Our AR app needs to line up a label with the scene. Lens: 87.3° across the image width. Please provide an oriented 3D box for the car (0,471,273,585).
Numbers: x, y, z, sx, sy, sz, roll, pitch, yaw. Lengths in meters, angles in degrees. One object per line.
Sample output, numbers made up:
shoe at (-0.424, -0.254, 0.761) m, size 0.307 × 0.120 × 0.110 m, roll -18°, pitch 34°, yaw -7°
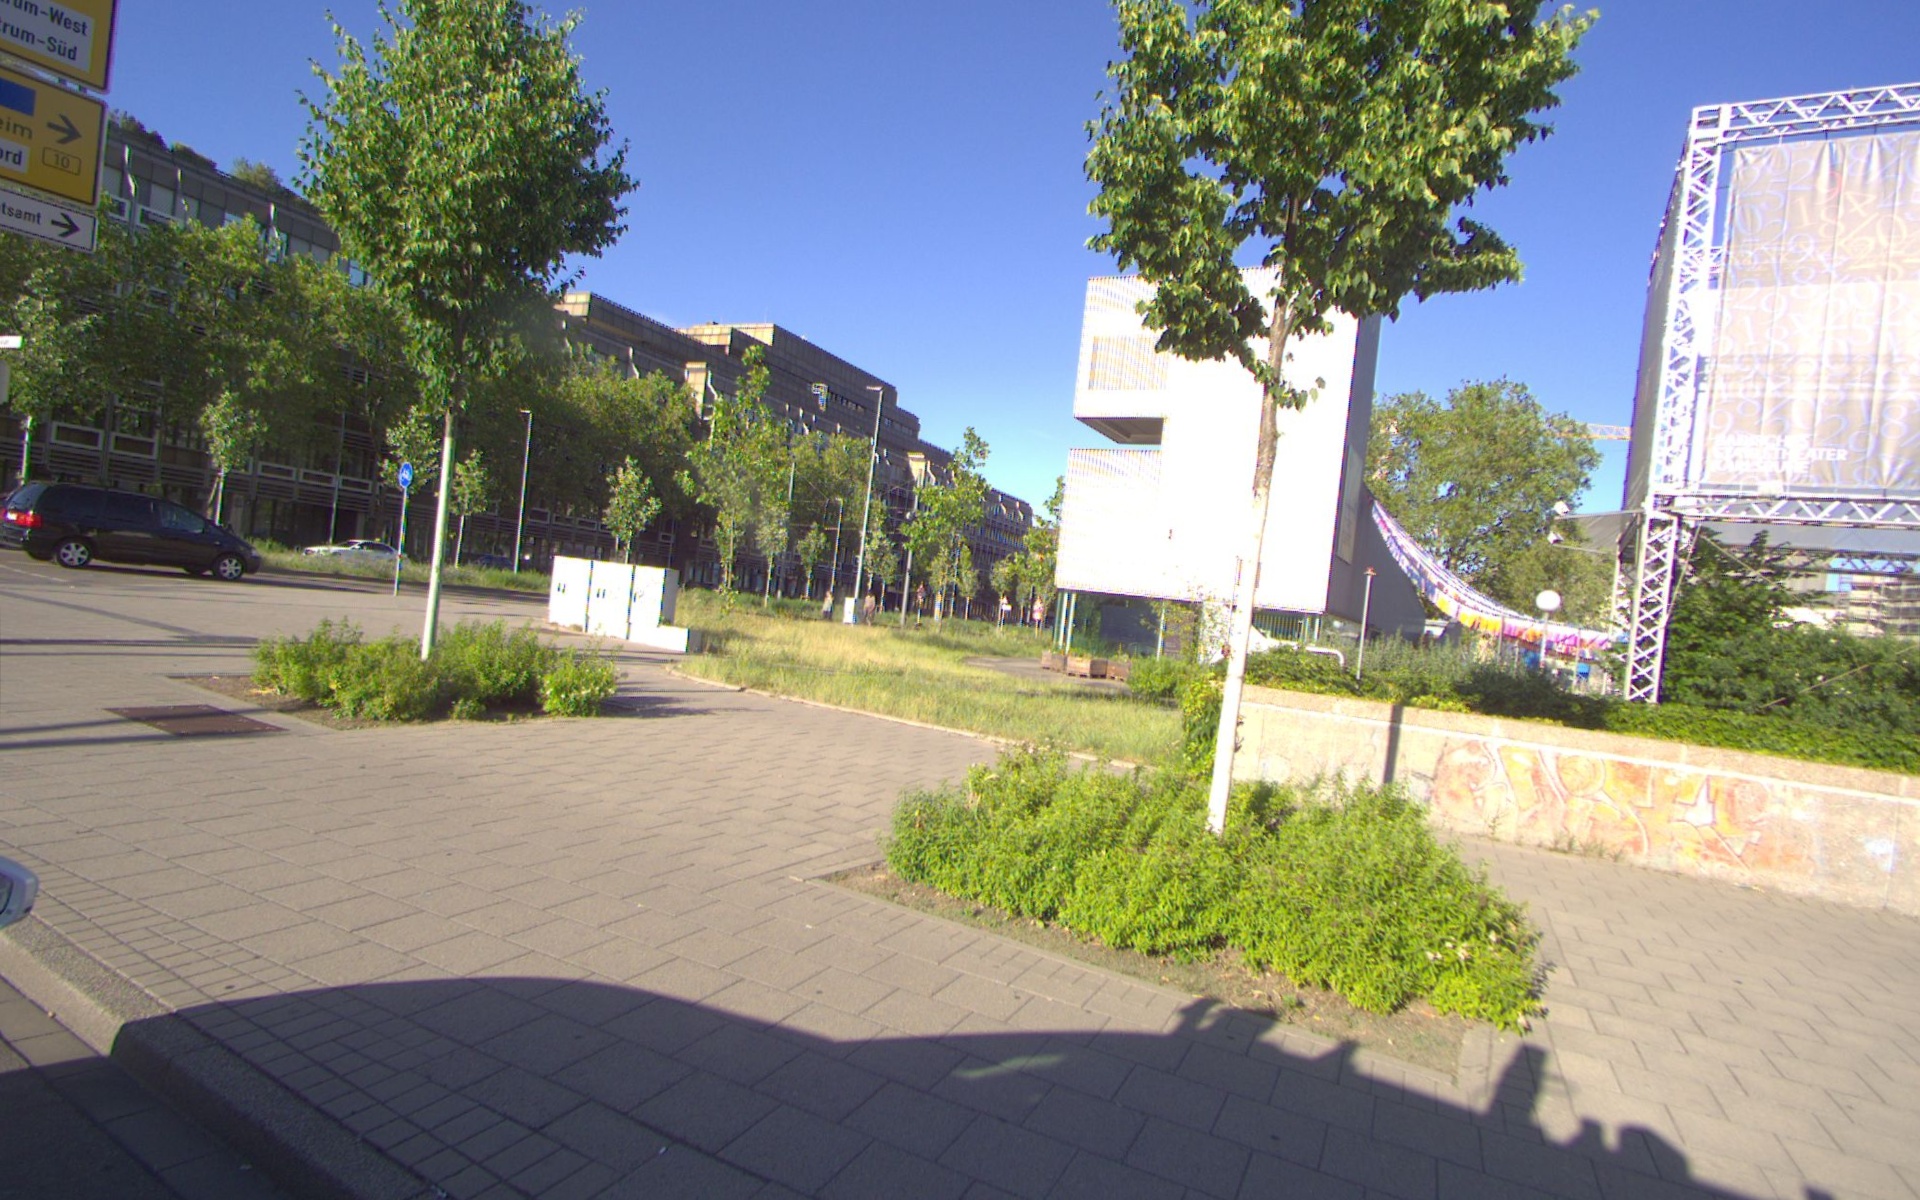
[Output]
car at (-18.064, -1.512, 21.995) m, size 1.966 × 1.780 × 4.479 m, roll 10°, pitch 1°, yaw 30°

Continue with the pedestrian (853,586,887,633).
pedestrian at (-3.552, 0.371, 39.739) m, size 0.925 × 1.750 × 0.695 m, roll 7°, pitch 1°, yaw 18°

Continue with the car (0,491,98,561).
car at (-33.317, -2.711, 35.378) m, size 1.966 × 2.037 × 3.997 m, roll 6°, pitch -2°, yaw 29°

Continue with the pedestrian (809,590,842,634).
pedestrian at (-5.491, 0.489, 41.022) m, size 0.925 × 1.650 × 0.803 m, roll 7°, pitch 1°, yaw 18°

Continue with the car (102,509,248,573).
car at (-34.115, -2.529, 43.885) m, size 1.965 × 2.036 × 4.458 m, roll 7°, pitch -2°, yaw 27°

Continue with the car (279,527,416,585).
car at (-30.679, -2.181, 50.588) m, size 2.062 × 2.036 × 5.455 m, roll 6°, pitch -2°, yaw 29°

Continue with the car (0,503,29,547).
car at (-37.247, -3.043, 36.948) m, size 1.836 × 1.525 × 3.997 m, roll 7°, pitch -2°, yaw 29°
